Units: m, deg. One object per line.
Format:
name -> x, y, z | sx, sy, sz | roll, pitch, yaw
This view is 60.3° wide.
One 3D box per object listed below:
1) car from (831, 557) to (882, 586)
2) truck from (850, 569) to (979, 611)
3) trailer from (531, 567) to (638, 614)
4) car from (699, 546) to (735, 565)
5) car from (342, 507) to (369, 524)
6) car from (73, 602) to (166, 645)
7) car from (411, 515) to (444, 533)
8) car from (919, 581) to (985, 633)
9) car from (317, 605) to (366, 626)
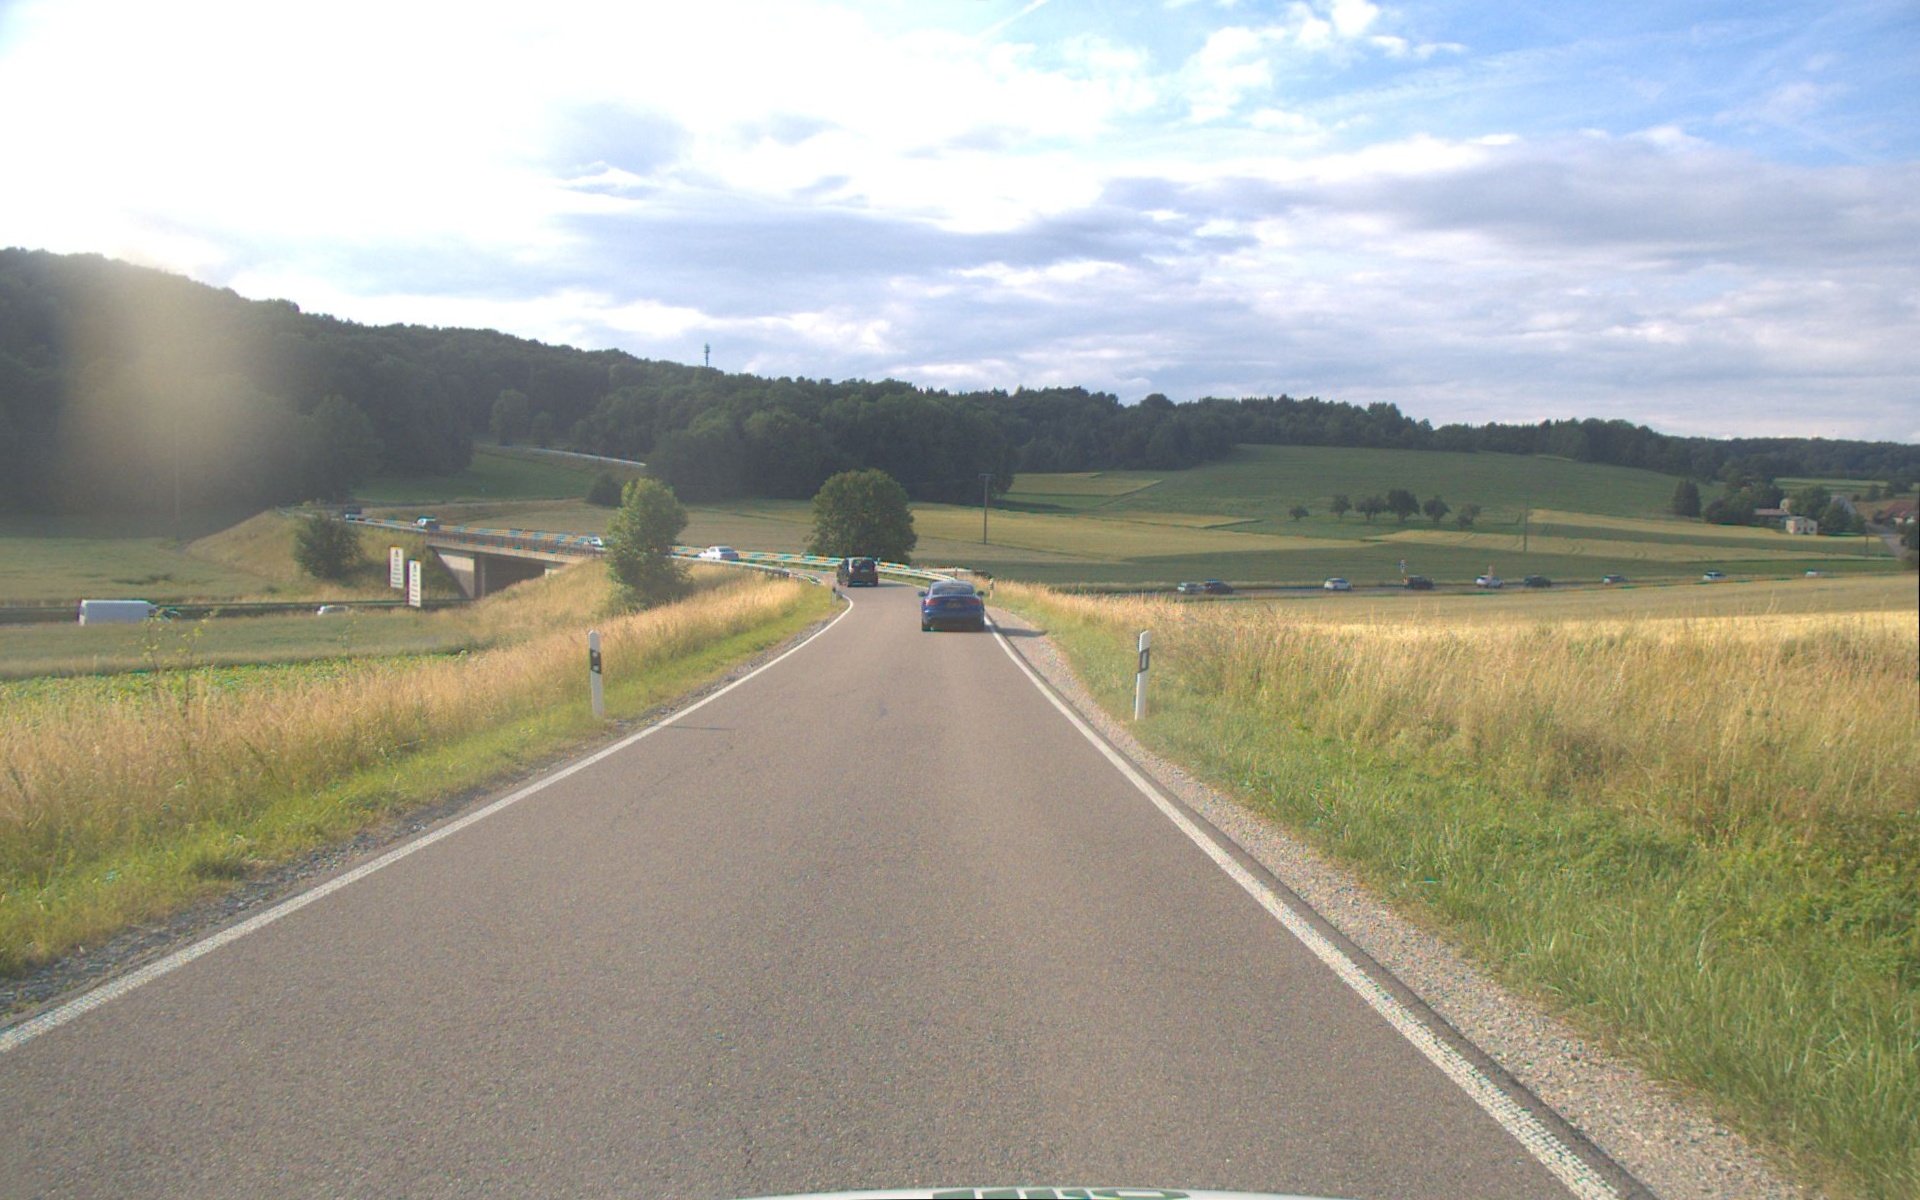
car -> -5.944, -1.613, 94.650 | 1.834, 1.596, 3.977 | -2, 1, -20
truck -> -4.704, -1.087, 175.752 | 14.284, 4.066, 4.022 | -2, 1, -39
trailer -> -34.729, -0.936, 153.148 | 9.049, 4.130, 3.780 | -2, 2, -42
car -> -18.623, -3.430, 126.526 | 1.661, 1.400, 3.968 | -1, 1, -25
car -> -73.059, -10.230, 199.930 | 1.978, 1.801, 3.951 | -5, 7, -35
car -> -65.211, 1.814, 128.430 | 6.069, 2.626, 2.341 | -4, 10, -41
car -> -57.347, -8.167, 178.202 | 1.981, 1.707, 4.120 | 2, 3, -40
car -> -0.251, 0.182, 48.022 | 1.782, 1.362, 4.349 | -3, 0, -1
car -> -52.640, 1.312, 140.818 | 3.585, 1.661, 1.632 | -2, 0, -39
